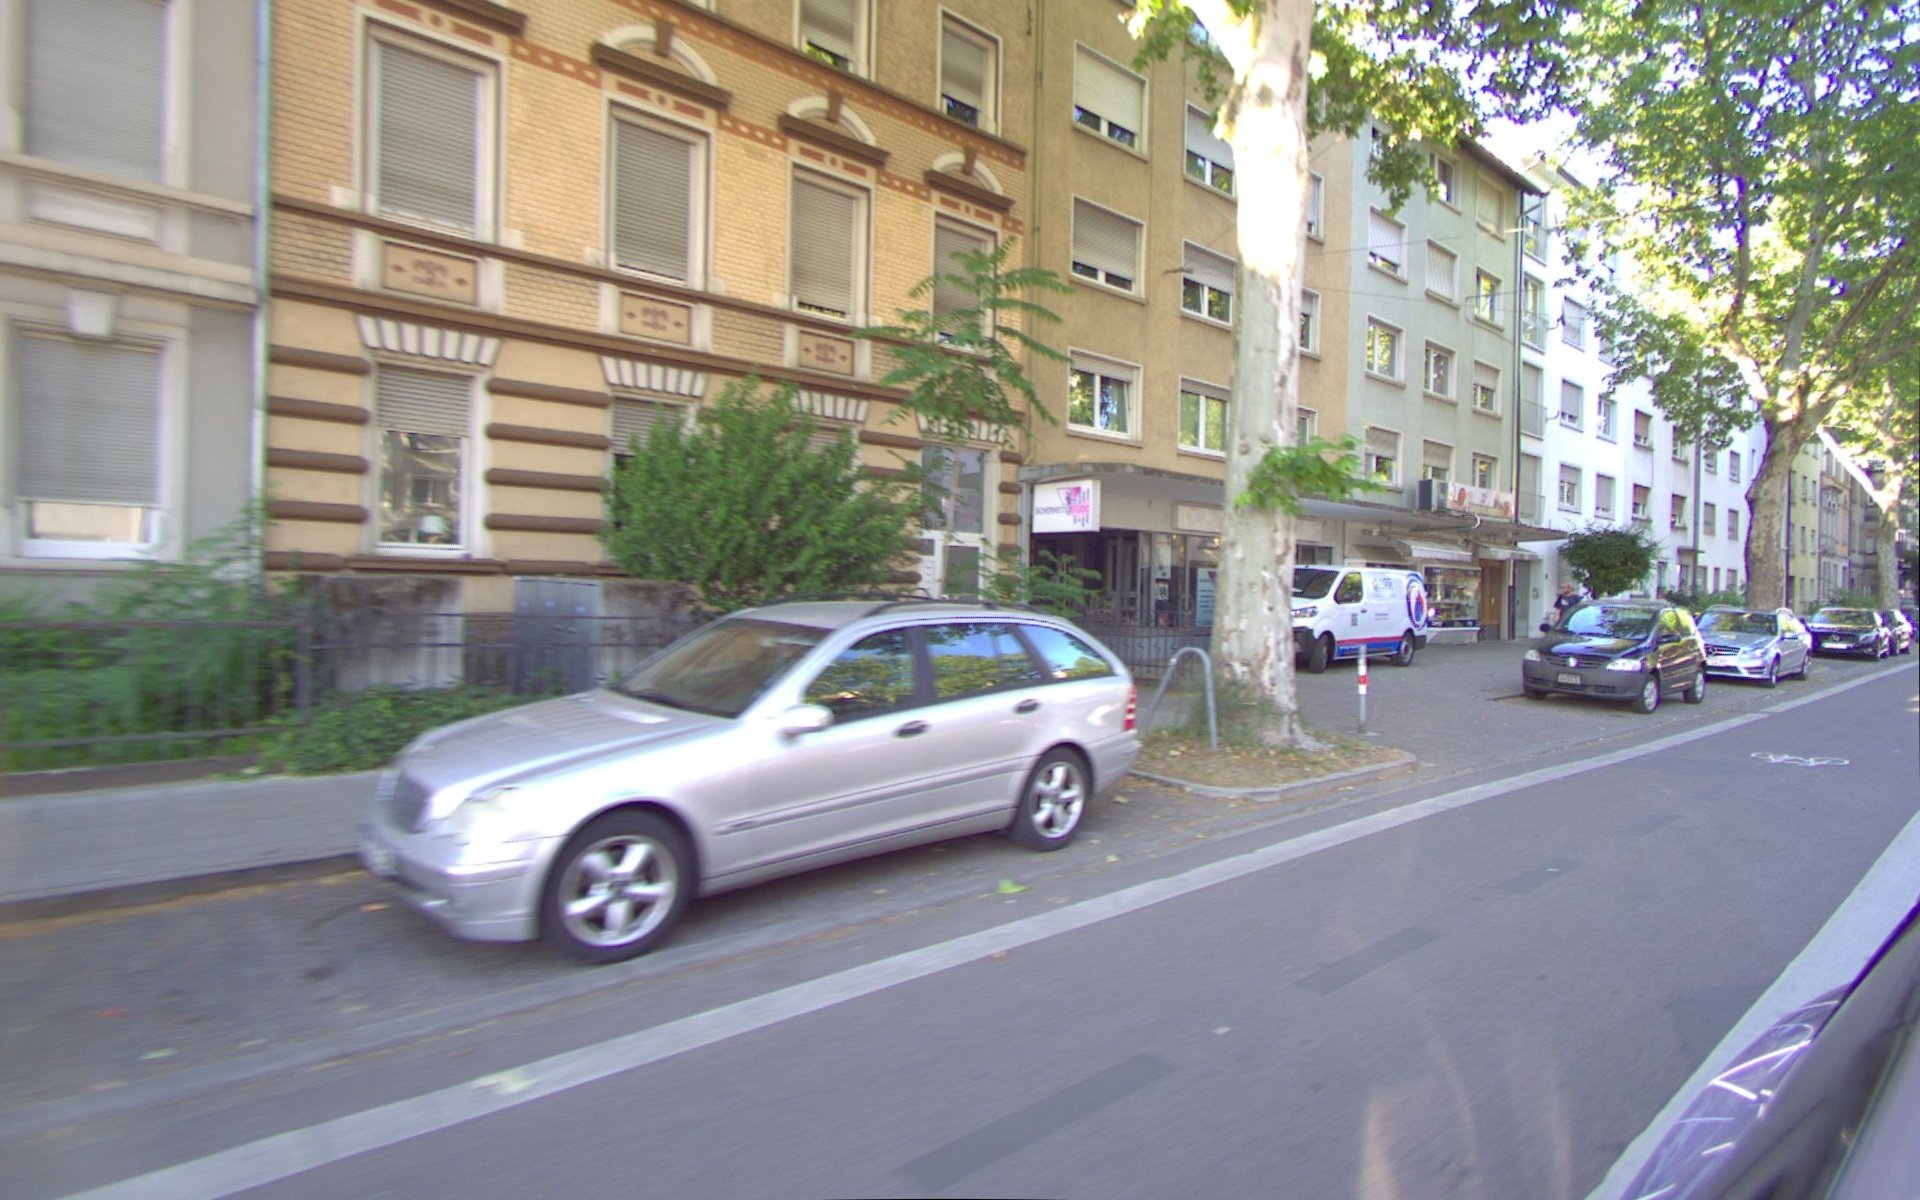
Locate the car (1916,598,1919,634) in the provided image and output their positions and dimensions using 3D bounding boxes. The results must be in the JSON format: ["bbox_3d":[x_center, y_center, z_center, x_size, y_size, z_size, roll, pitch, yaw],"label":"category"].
[{"bbox_3d":[41.125,0.660,42.226,1.743,1.482,3.962,1,1,44],"label":"car"}]

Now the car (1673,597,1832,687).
[{"bbox_3d":[15.938,0.754,20.260,4.694,1.562,1.697,0,1,-42],"label":"car"}]

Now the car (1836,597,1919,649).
[{"bbox_3d":[29.267,0.677,32.026,4.288,1.432,1.712,0,3,-41],"label":"car"}]

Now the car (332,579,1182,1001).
[{"bbox_3d":[-0.765,0.652,5.705,4.493,1.469,1.676,0,1,-43],"label":"car"}]

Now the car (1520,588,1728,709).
[{"bbox_3d":[10.128,0.640,15.334,3.931,1.564,1.656,0,2,-42],"label":"car"}]

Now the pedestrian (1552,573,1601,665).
[{"bbox_3d":[14.134,0.418,23.190,0.994,2.039,0.683,0,1,-42],"label":"pedestrian"}]

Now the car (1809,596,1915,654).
[{"bbox_3d":[25.703,0.657,28.798,4.288,1.432,1.712,0,3,-41],"label":"car"}]

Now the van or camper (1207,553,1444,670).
[{"bbox_3d":[7.102,0.156,19.326,5.298,1.946,1.945,0,2,-42],"label":"van or camper"}]
